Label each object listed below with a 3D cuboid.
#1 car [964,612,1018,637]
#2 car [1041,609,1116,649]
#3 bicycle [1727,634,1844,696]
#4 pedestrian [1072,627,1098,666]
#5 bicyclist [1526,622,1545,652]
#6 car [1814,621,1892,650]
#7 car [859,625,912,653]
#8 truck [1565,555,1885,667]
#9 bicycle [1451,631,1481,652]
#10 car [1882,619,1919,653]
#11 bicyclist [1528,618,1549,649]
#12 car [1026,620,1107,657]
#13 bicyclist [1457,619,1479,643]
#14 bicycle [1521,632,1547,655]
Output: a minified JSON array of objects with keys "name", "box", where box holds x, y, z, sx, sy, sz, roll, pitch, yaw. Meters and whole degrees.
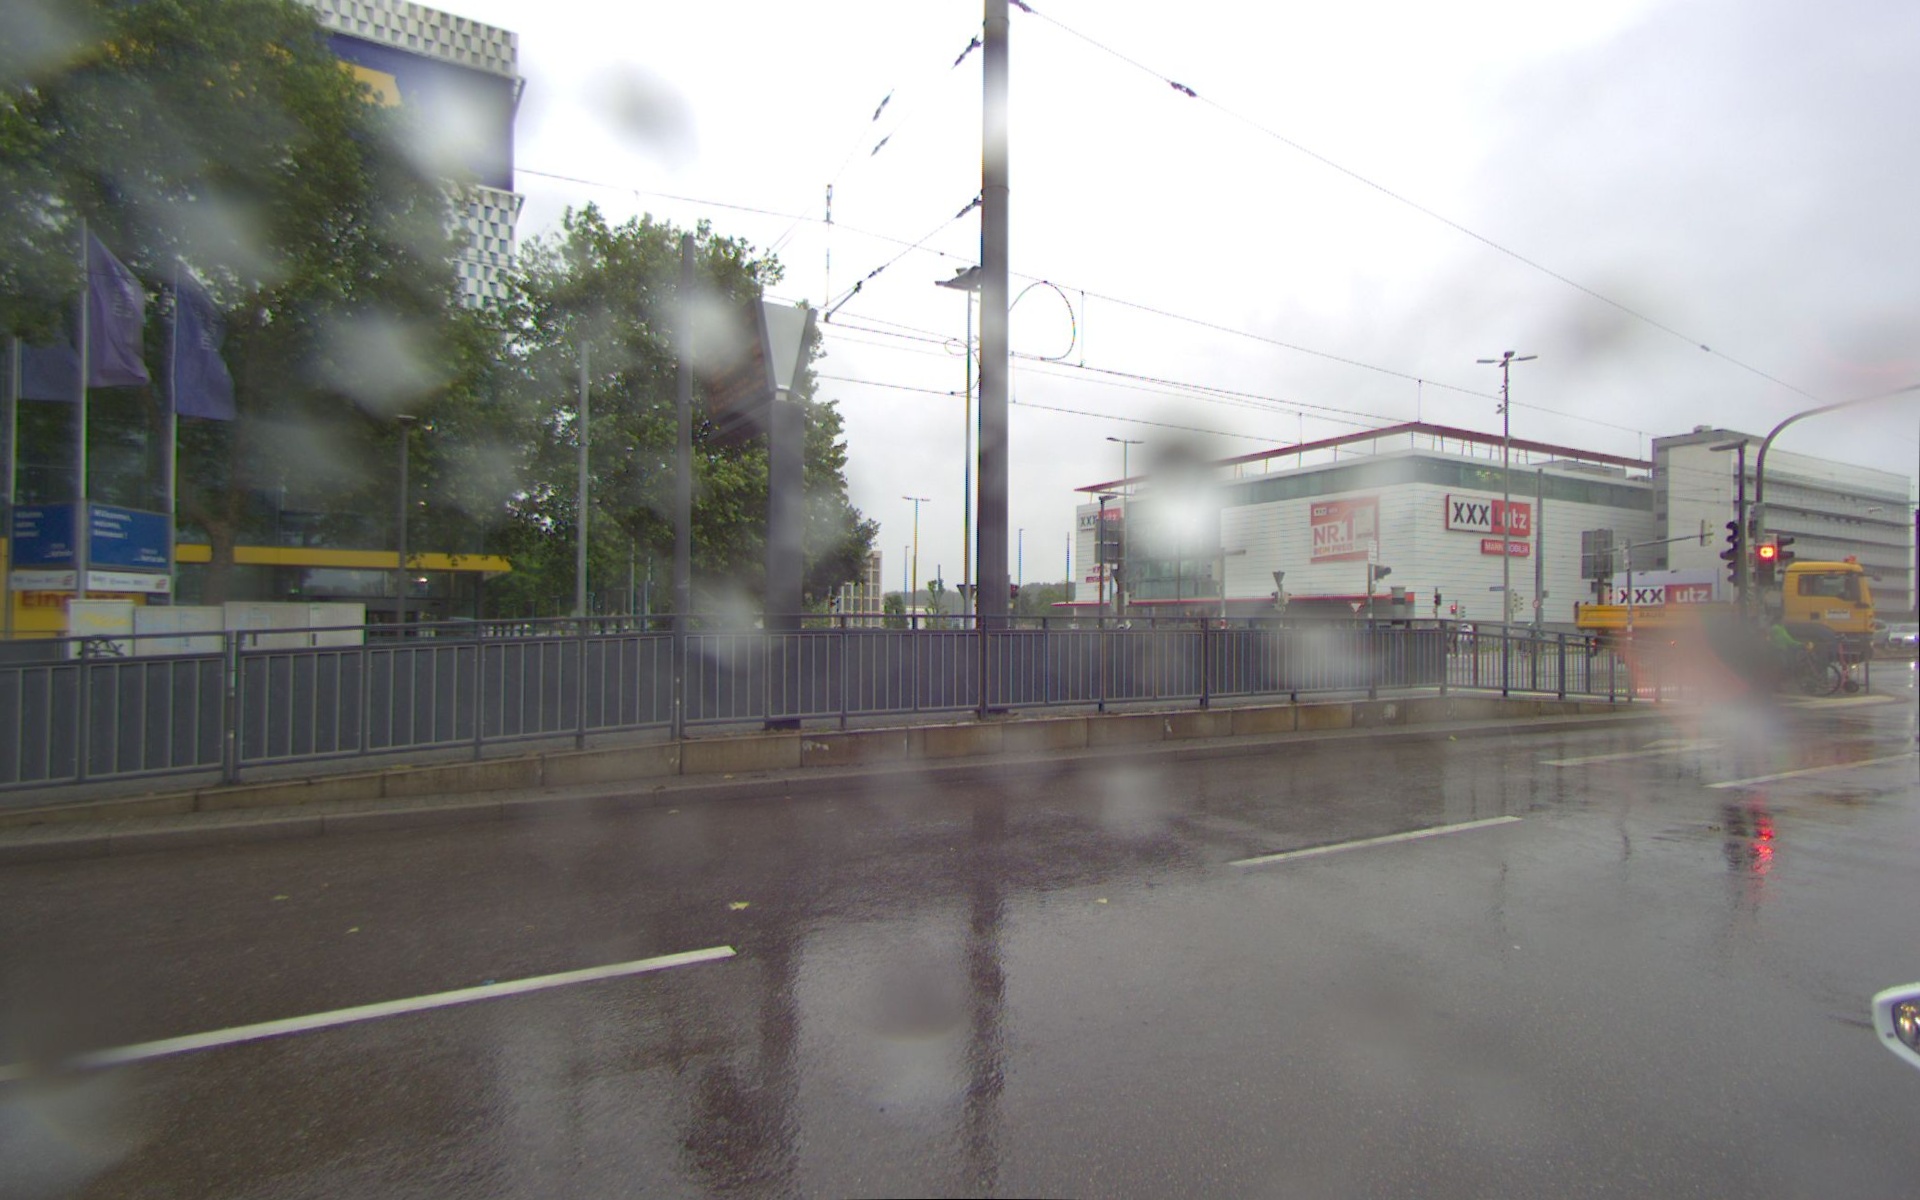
[{"name":"car","box":[2.186,1.697,70.214,3.723,1.645,2.001,2,0,2]},{"name":"car","box":[6.605,1.592,56.431,1.976,2.040,4.295,2,0,-29]},{"name":"bicycle","box":[16.742,1.299,20.427,0.409,1.048,1.742,2,3,-31]},{"name":"pedestrian","box":[5.117,1.895,41.014,0.863,1.557,0.560,2,0,-31]},{"name":"bicyclist","box":[27.741,1.786,48.436,0.643,1.418,0.529,2,0,-33]},{"name":"car","box":[44.939,1.793,50.530,3.780,1.354,1.582,2,0,-26]},{"name":"car","box":[-5.296,2.736,71.077,1.978,1.656,4.181,1,1,-32]},{"name":"truck","box":[21.736,0.257,28.965,7.036,2.854,2.629,1,0,40]},{"name":"bicycle","box":[24.725,2.025,49.058,1.688,1.000,0.448,2,0,-30]},{"name":"car","box":[51.382,1.963,53.609,3.947,1.722,1.886,2,0,-26]},{"name":"bicyclist","box":[29.095,1.686,50.533,0.639,1.483,0.681,2,0,-29]},{"name":"car","box":[5.374,1.932,51.088,1.980,1.711,3.960,2,0,-35]},{"name":"bicyclist","box":[24.830,1.520,49.082,0.639,1.149,0.681,2,0,-29]},{"name":"bicycle","box":[27.639,2.113,48.352,1.492,1.075,0.408,2,0,-31]}]
